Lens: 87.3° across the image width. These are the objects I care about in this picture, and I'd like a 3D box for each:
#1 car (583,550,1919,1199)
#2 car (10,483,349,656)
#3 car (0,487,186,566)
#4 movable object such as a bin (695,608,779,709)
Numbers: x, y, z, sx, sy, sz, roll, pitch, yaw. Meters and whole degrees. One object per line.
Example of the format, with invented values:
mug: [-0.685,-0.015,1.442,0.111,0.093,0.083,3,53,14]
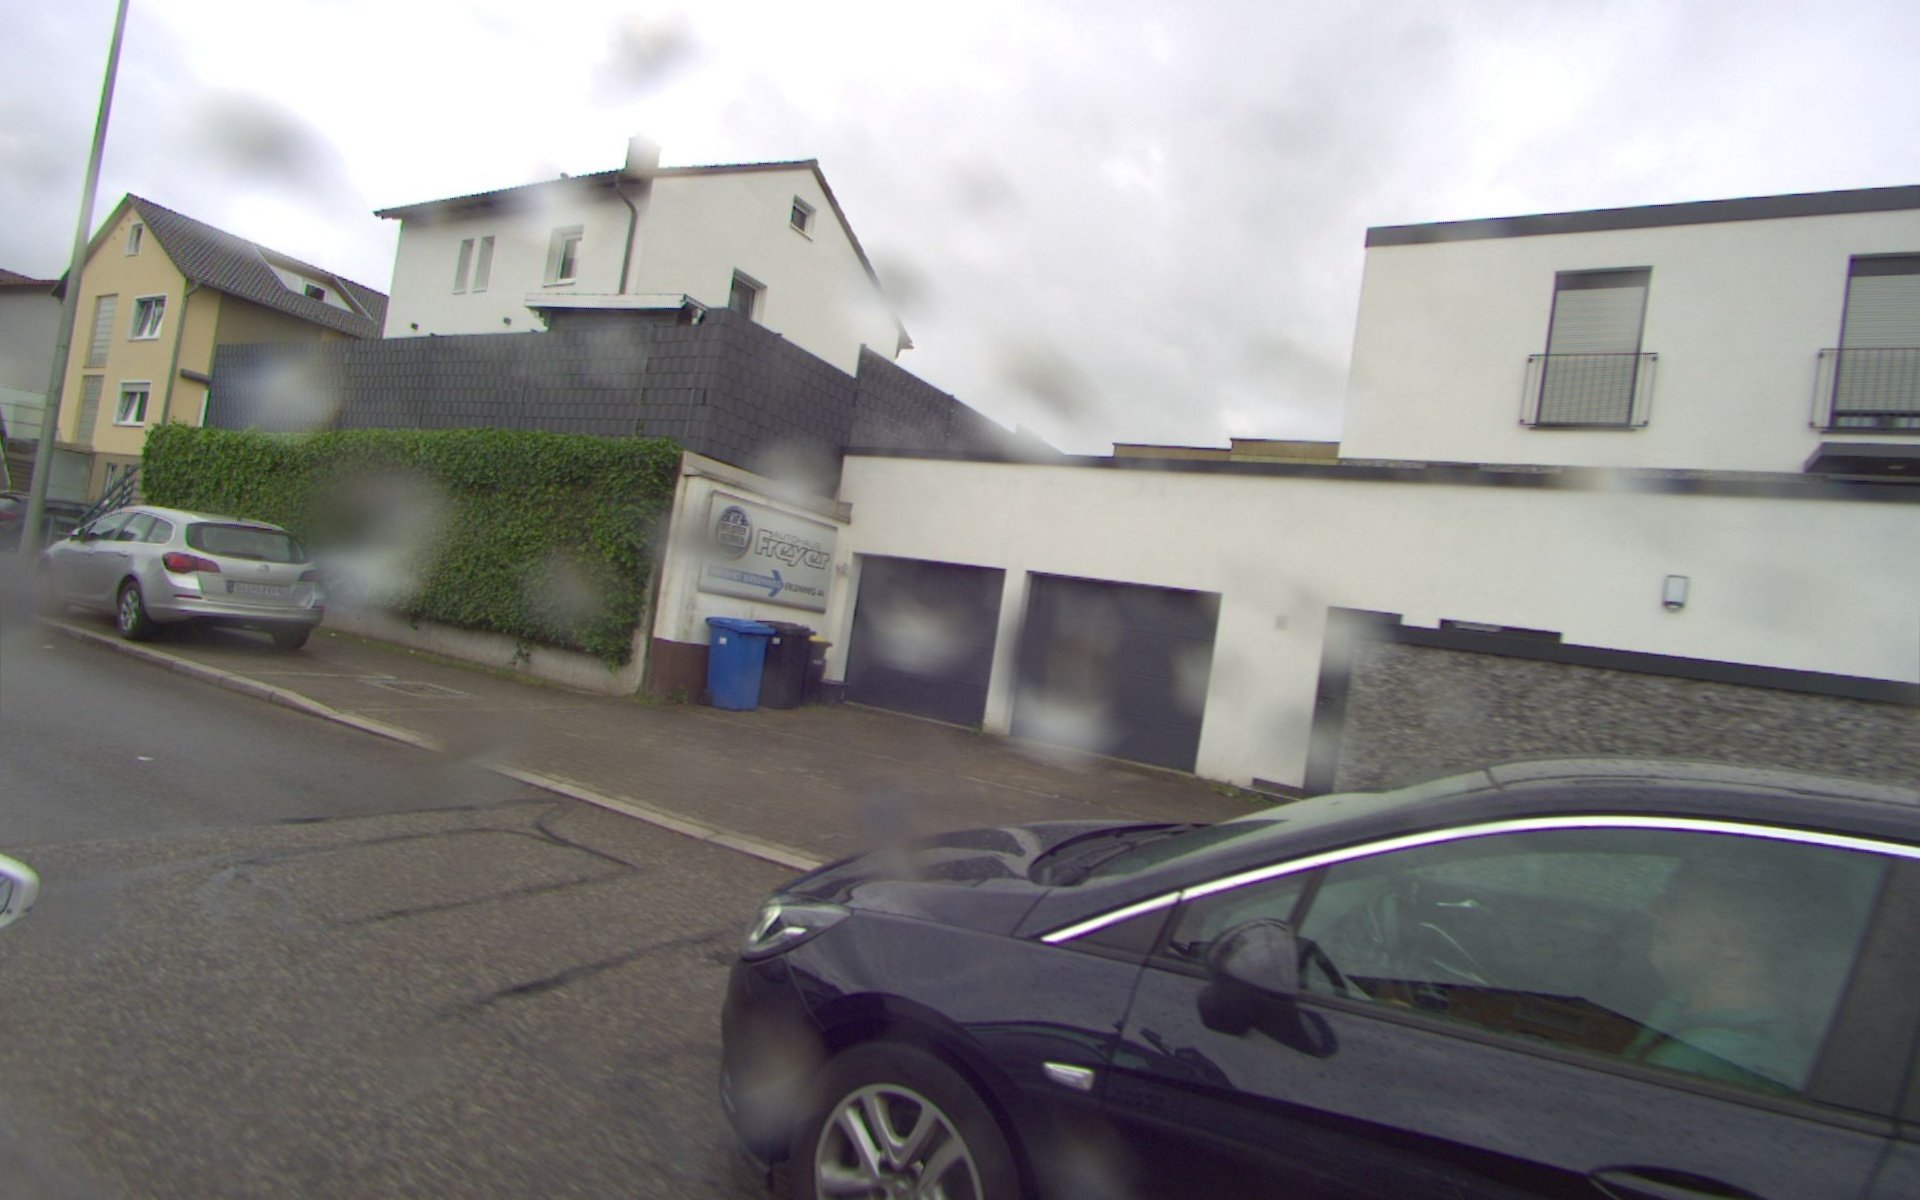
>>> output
car: [1.243,0.936,2.265,3.934,1.466,1.760,8,-1,32]
car: [-9.657,-0.411,12.353,4.459,1.527,1.704,7,-2,32]
car: [-23.098,-1.933,26.355,1.837,1.450,3.995,7,-1,30]
movable object such as a bin: [-2.694,0.704,12.164,0.656,1.119,0.596,8,2,31]
